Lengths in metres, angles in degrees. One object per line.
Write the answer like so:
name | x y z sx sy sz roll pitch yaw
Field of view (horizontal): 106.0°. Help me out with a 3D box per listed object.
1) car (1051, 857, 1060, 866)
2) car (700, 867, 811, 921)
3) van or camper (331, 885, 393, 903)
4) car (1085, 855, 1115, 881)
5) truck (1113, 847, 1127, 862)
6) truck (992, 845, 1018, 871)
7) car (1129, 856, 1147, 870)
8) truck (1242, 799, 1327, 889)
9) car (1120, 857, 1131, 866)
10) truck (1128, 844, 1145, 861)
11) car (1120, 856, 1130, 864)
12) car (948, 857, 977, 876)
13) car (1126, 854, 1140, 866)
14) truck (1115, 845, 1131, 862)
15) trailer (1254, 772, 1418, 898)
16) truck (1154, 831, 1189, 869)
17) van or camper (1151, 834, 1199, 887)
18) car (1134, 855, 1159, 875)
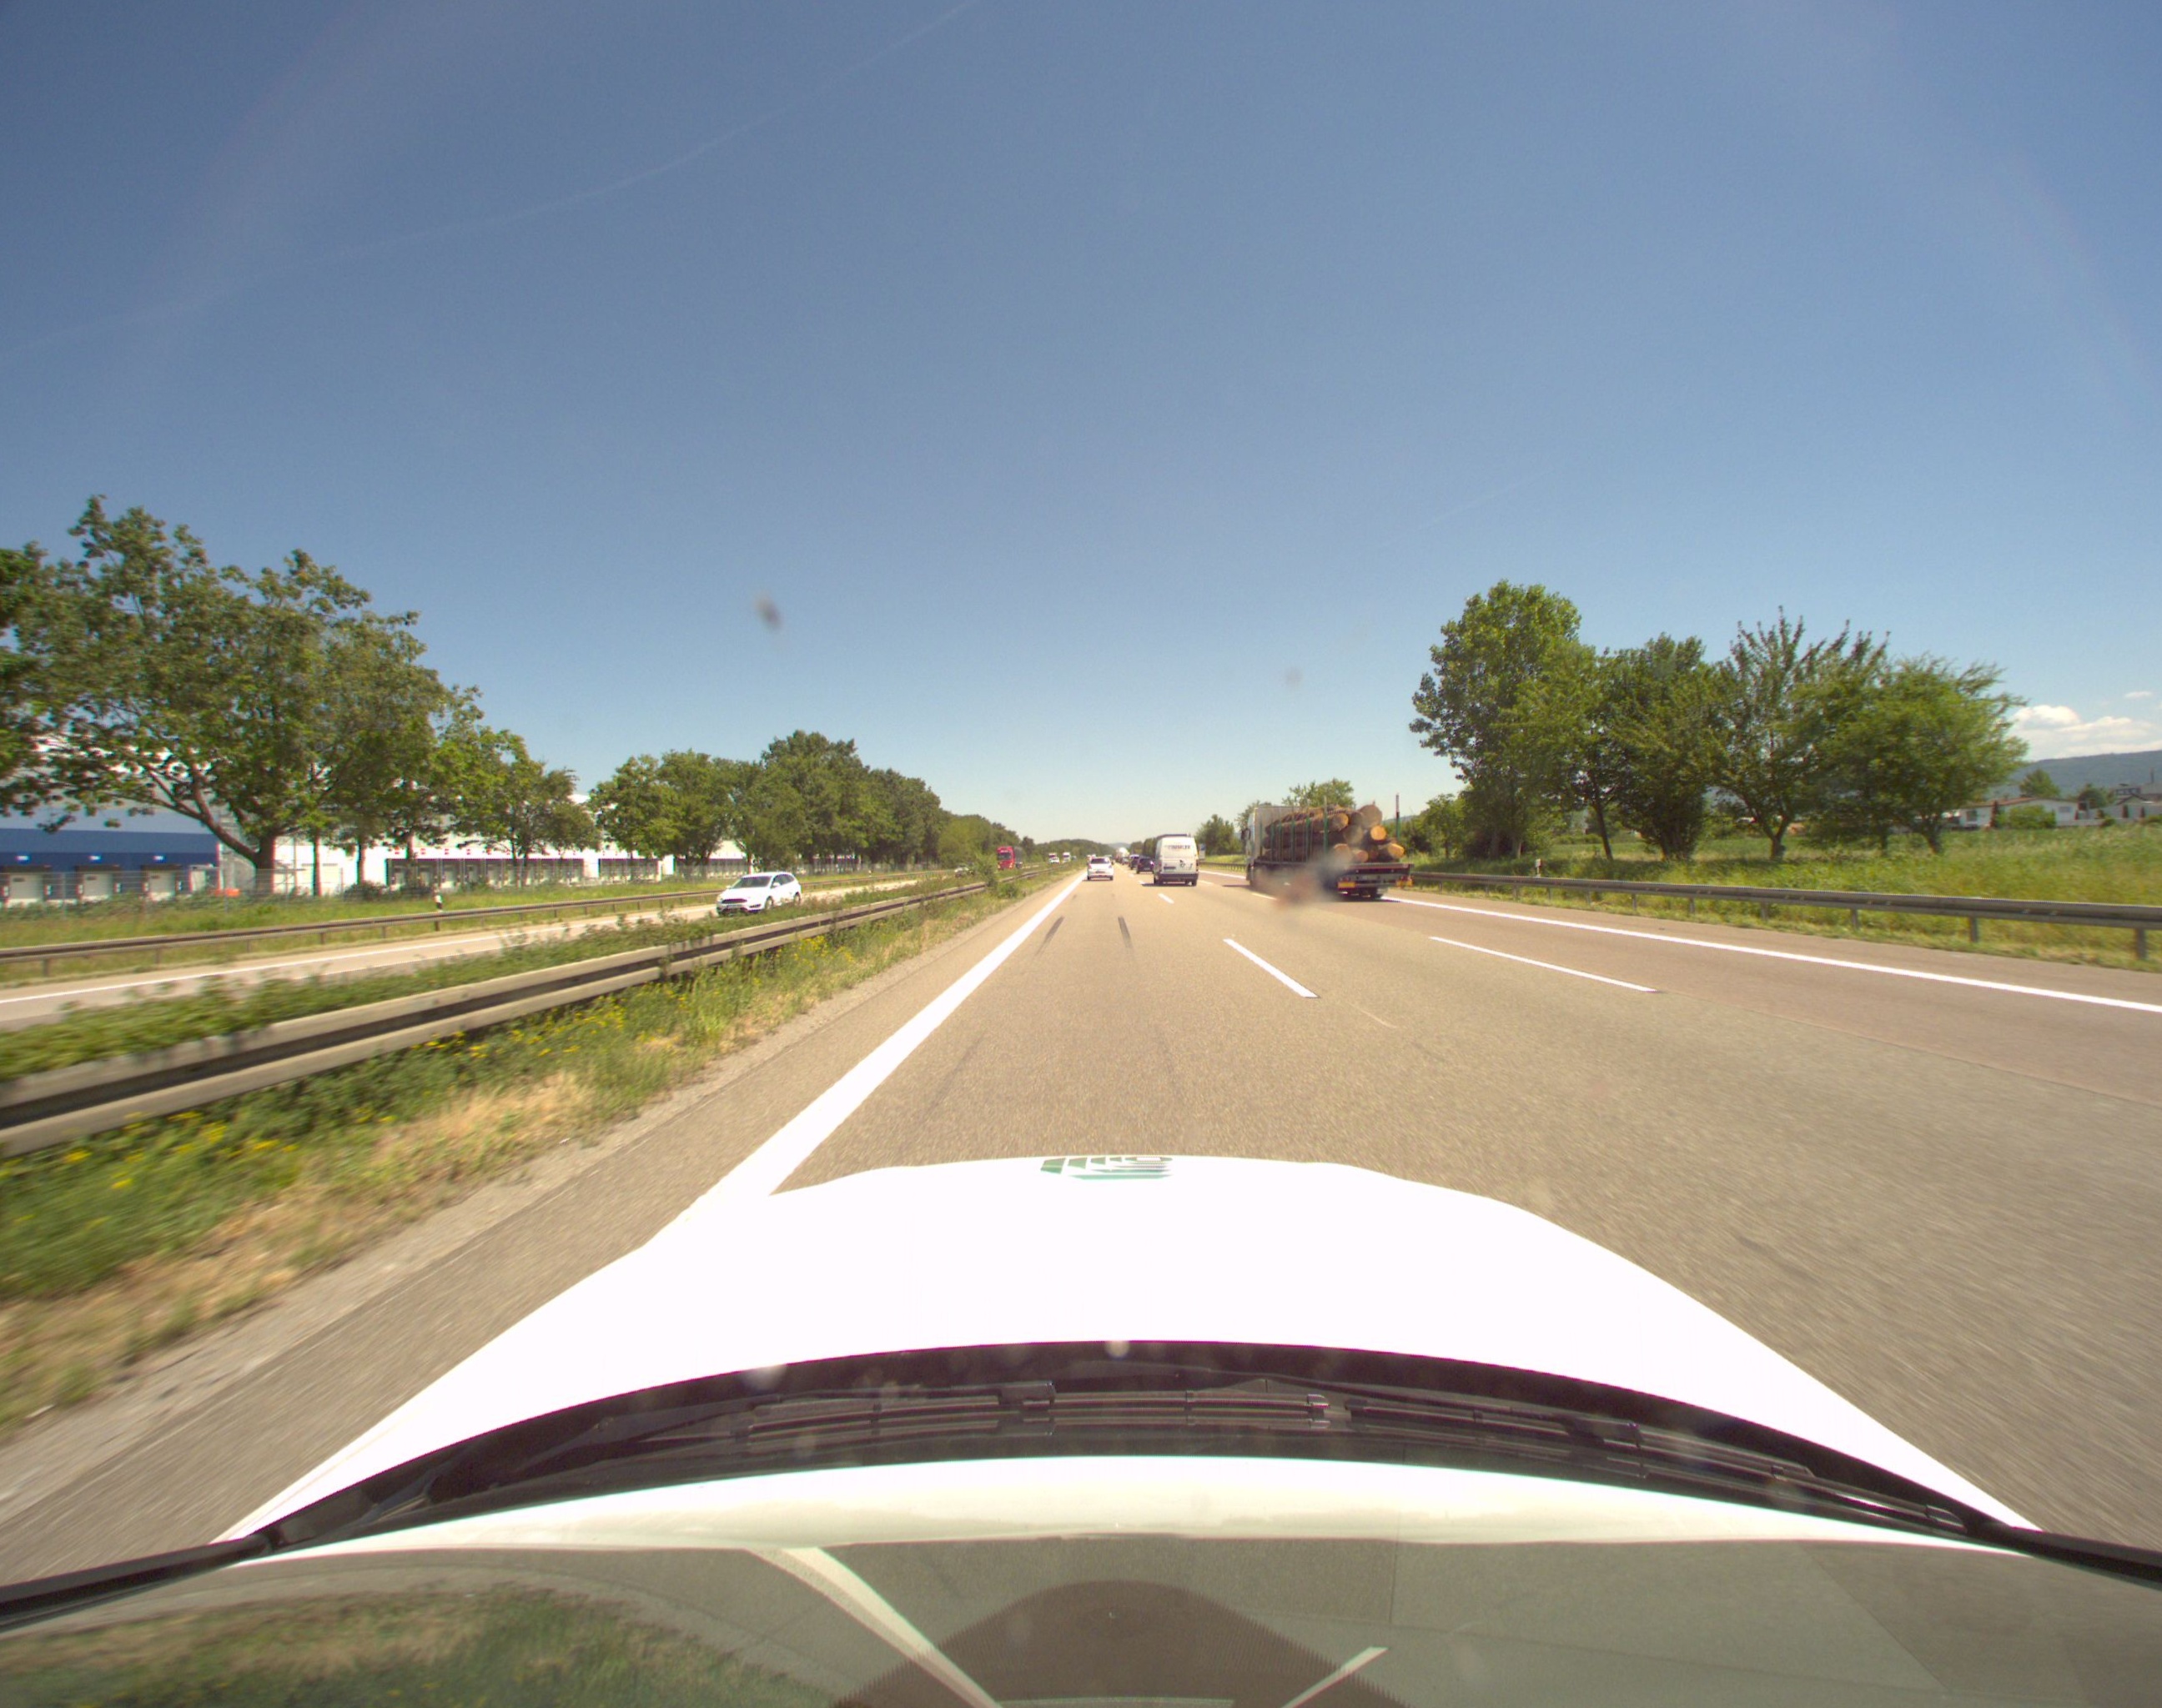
car | -6.299 1.888 204.945 1.989 1.912 5.211 -3 0 0
car | -11.912 1.403 30.253 1.987 1.640 4.859 -5 0 1
van or camper | -77.049 4.264 87.370 1.986 1.652 5.022 -3 0 2
car | 1.212 0.875 53.615 1.851 1.652 3.999 0 0 0
truck | 11.819 0.183 249.631 3.248 4.209 16.836 0 0 -1
truck | -12.661 0.665 136.461 3.426 3.931 6.223 -4 0 2
car | 6.797 1.091 97.070 1.851 1.652 3.999 -1 0 0
truck | 9.753 -0.449 39.759 2.660 3.994 6.638 -1 0 2
car | 8.225 1.416 152.078 1.851 1.652 3.999 -1 0 0
truck | 15.145 -0.355 221.713 3.248 4.209 16.836 0 0 -1
car | 9.522 1.268 176.631 1.851 1.652 3.999 -1 0 0
car | -11.356 1.189 78.388 1.839 1.682 4.816 -3 0 2
car | 7.607 0.912 120.236 1.851 1.652 3.999 -1 0 0
truck | 10.985 -0.016 215.936 3.248 4.209 16.836 0 0 -1
trailer | 9.545 -0.580 32.679 2.643 3.958 13.641 -1 0 2
truck | 10.975 -0.425 100.048 3.067 4.209 16.851 0 0 2
van or camper | 4.985 0.329 43.845 2.051 2.622 5.987 -1 0 2
car | 5.806 0.960 72.613 1.851 1.652 3.999 -1 0 0
